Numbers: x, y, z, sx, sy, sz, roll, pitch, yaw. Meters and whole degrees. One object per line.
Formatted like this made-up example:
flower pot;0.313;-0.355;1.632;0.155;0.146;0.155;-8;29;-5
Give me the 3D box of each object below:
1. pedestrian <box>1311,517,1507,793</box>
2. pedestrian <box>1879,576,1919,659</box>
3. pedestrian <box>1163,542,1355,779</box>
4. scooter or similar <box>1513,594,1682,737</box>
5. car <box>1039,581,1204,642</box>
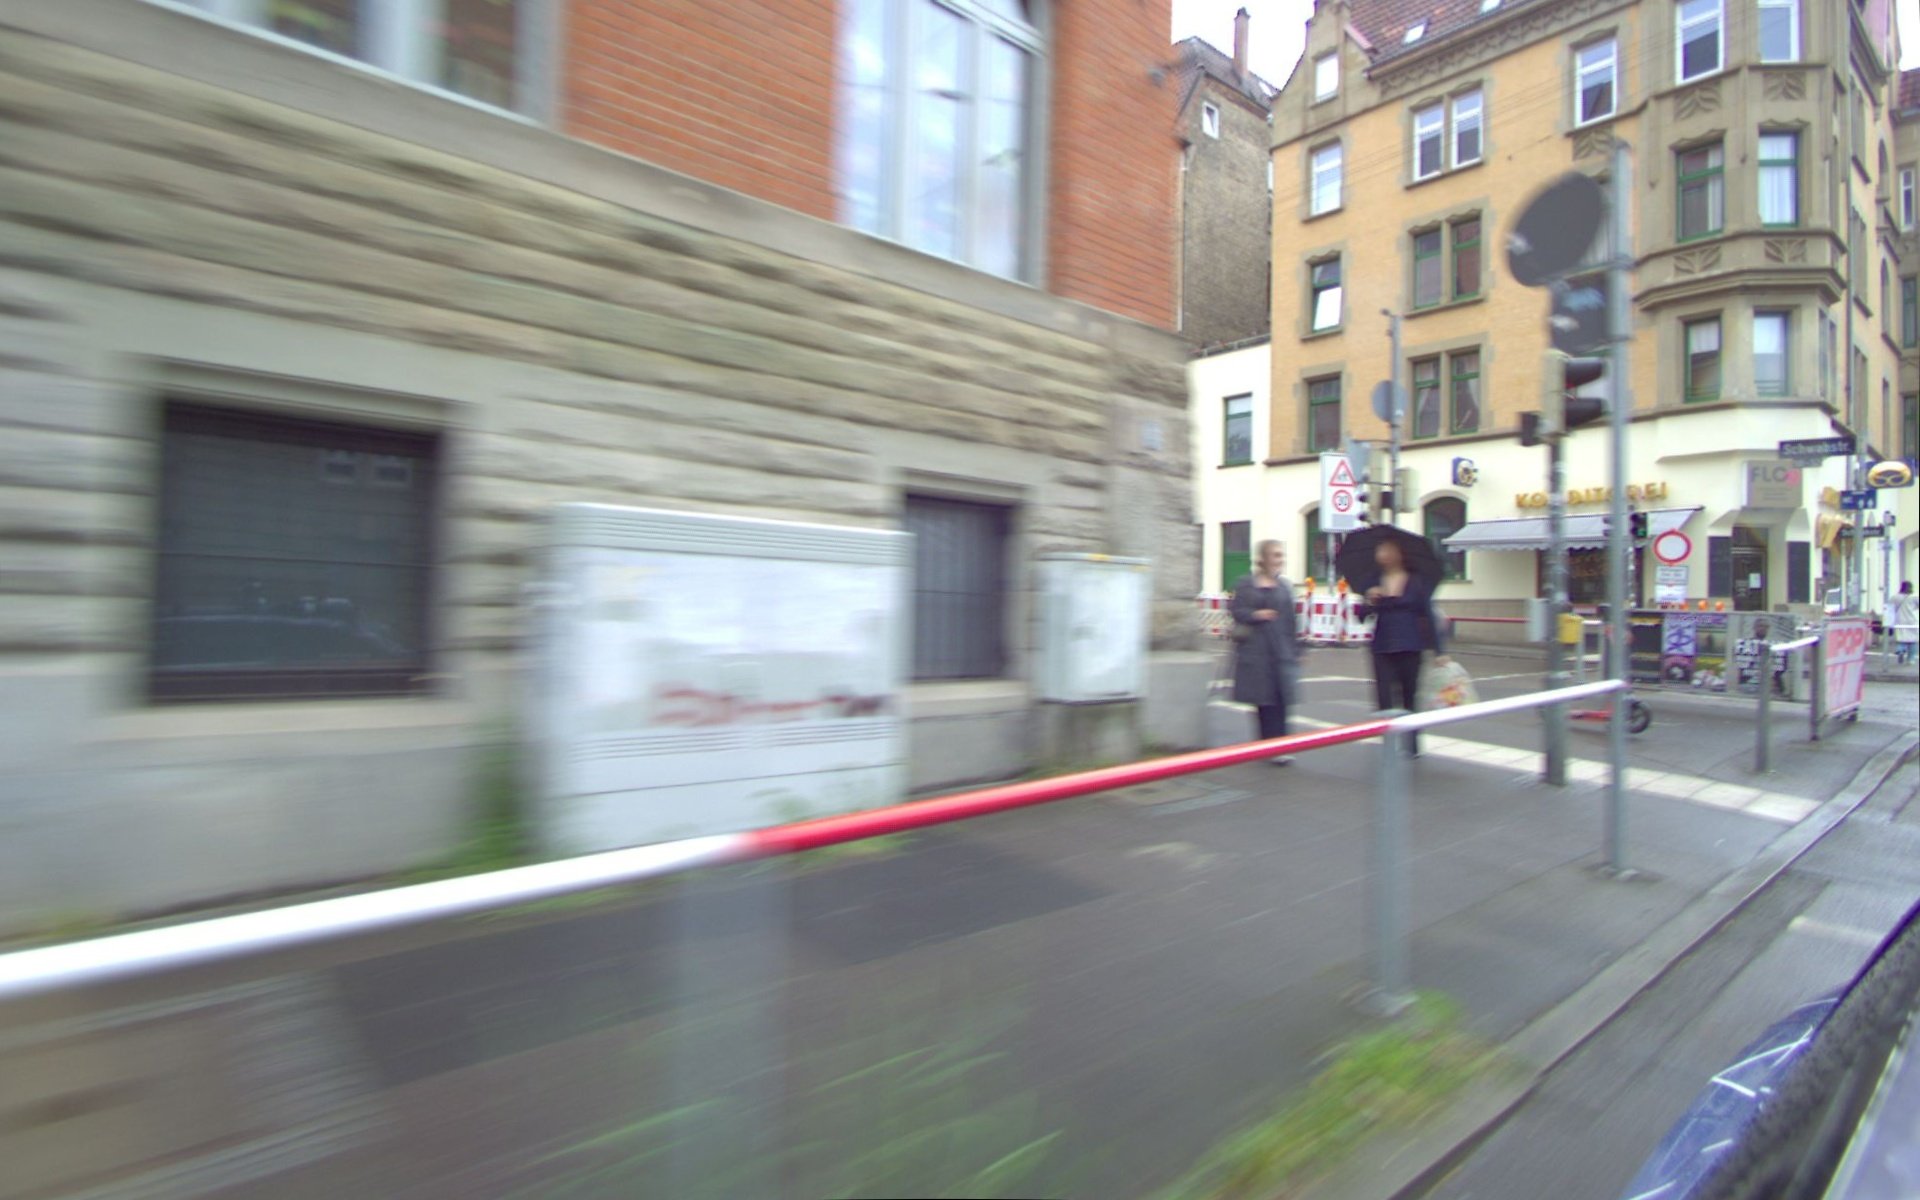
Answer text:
pedestrian;3.429;0.372;7.729;1.054;1.911;0.960;1;1;-40
pedestrian;20.093;0.363;21.322;0.767;1.726;0.995;1;-1;-40
pedestrian;2.289;0.410;7.756;1.054;1.645;0.960;1;1;-40
scooter or similar;6.157;0.597;9.837;0.624;1.266;1.253;1;1;-18
car;3.927;0.291;25.208;1.766;1.392;3.998;0;-1;-36
